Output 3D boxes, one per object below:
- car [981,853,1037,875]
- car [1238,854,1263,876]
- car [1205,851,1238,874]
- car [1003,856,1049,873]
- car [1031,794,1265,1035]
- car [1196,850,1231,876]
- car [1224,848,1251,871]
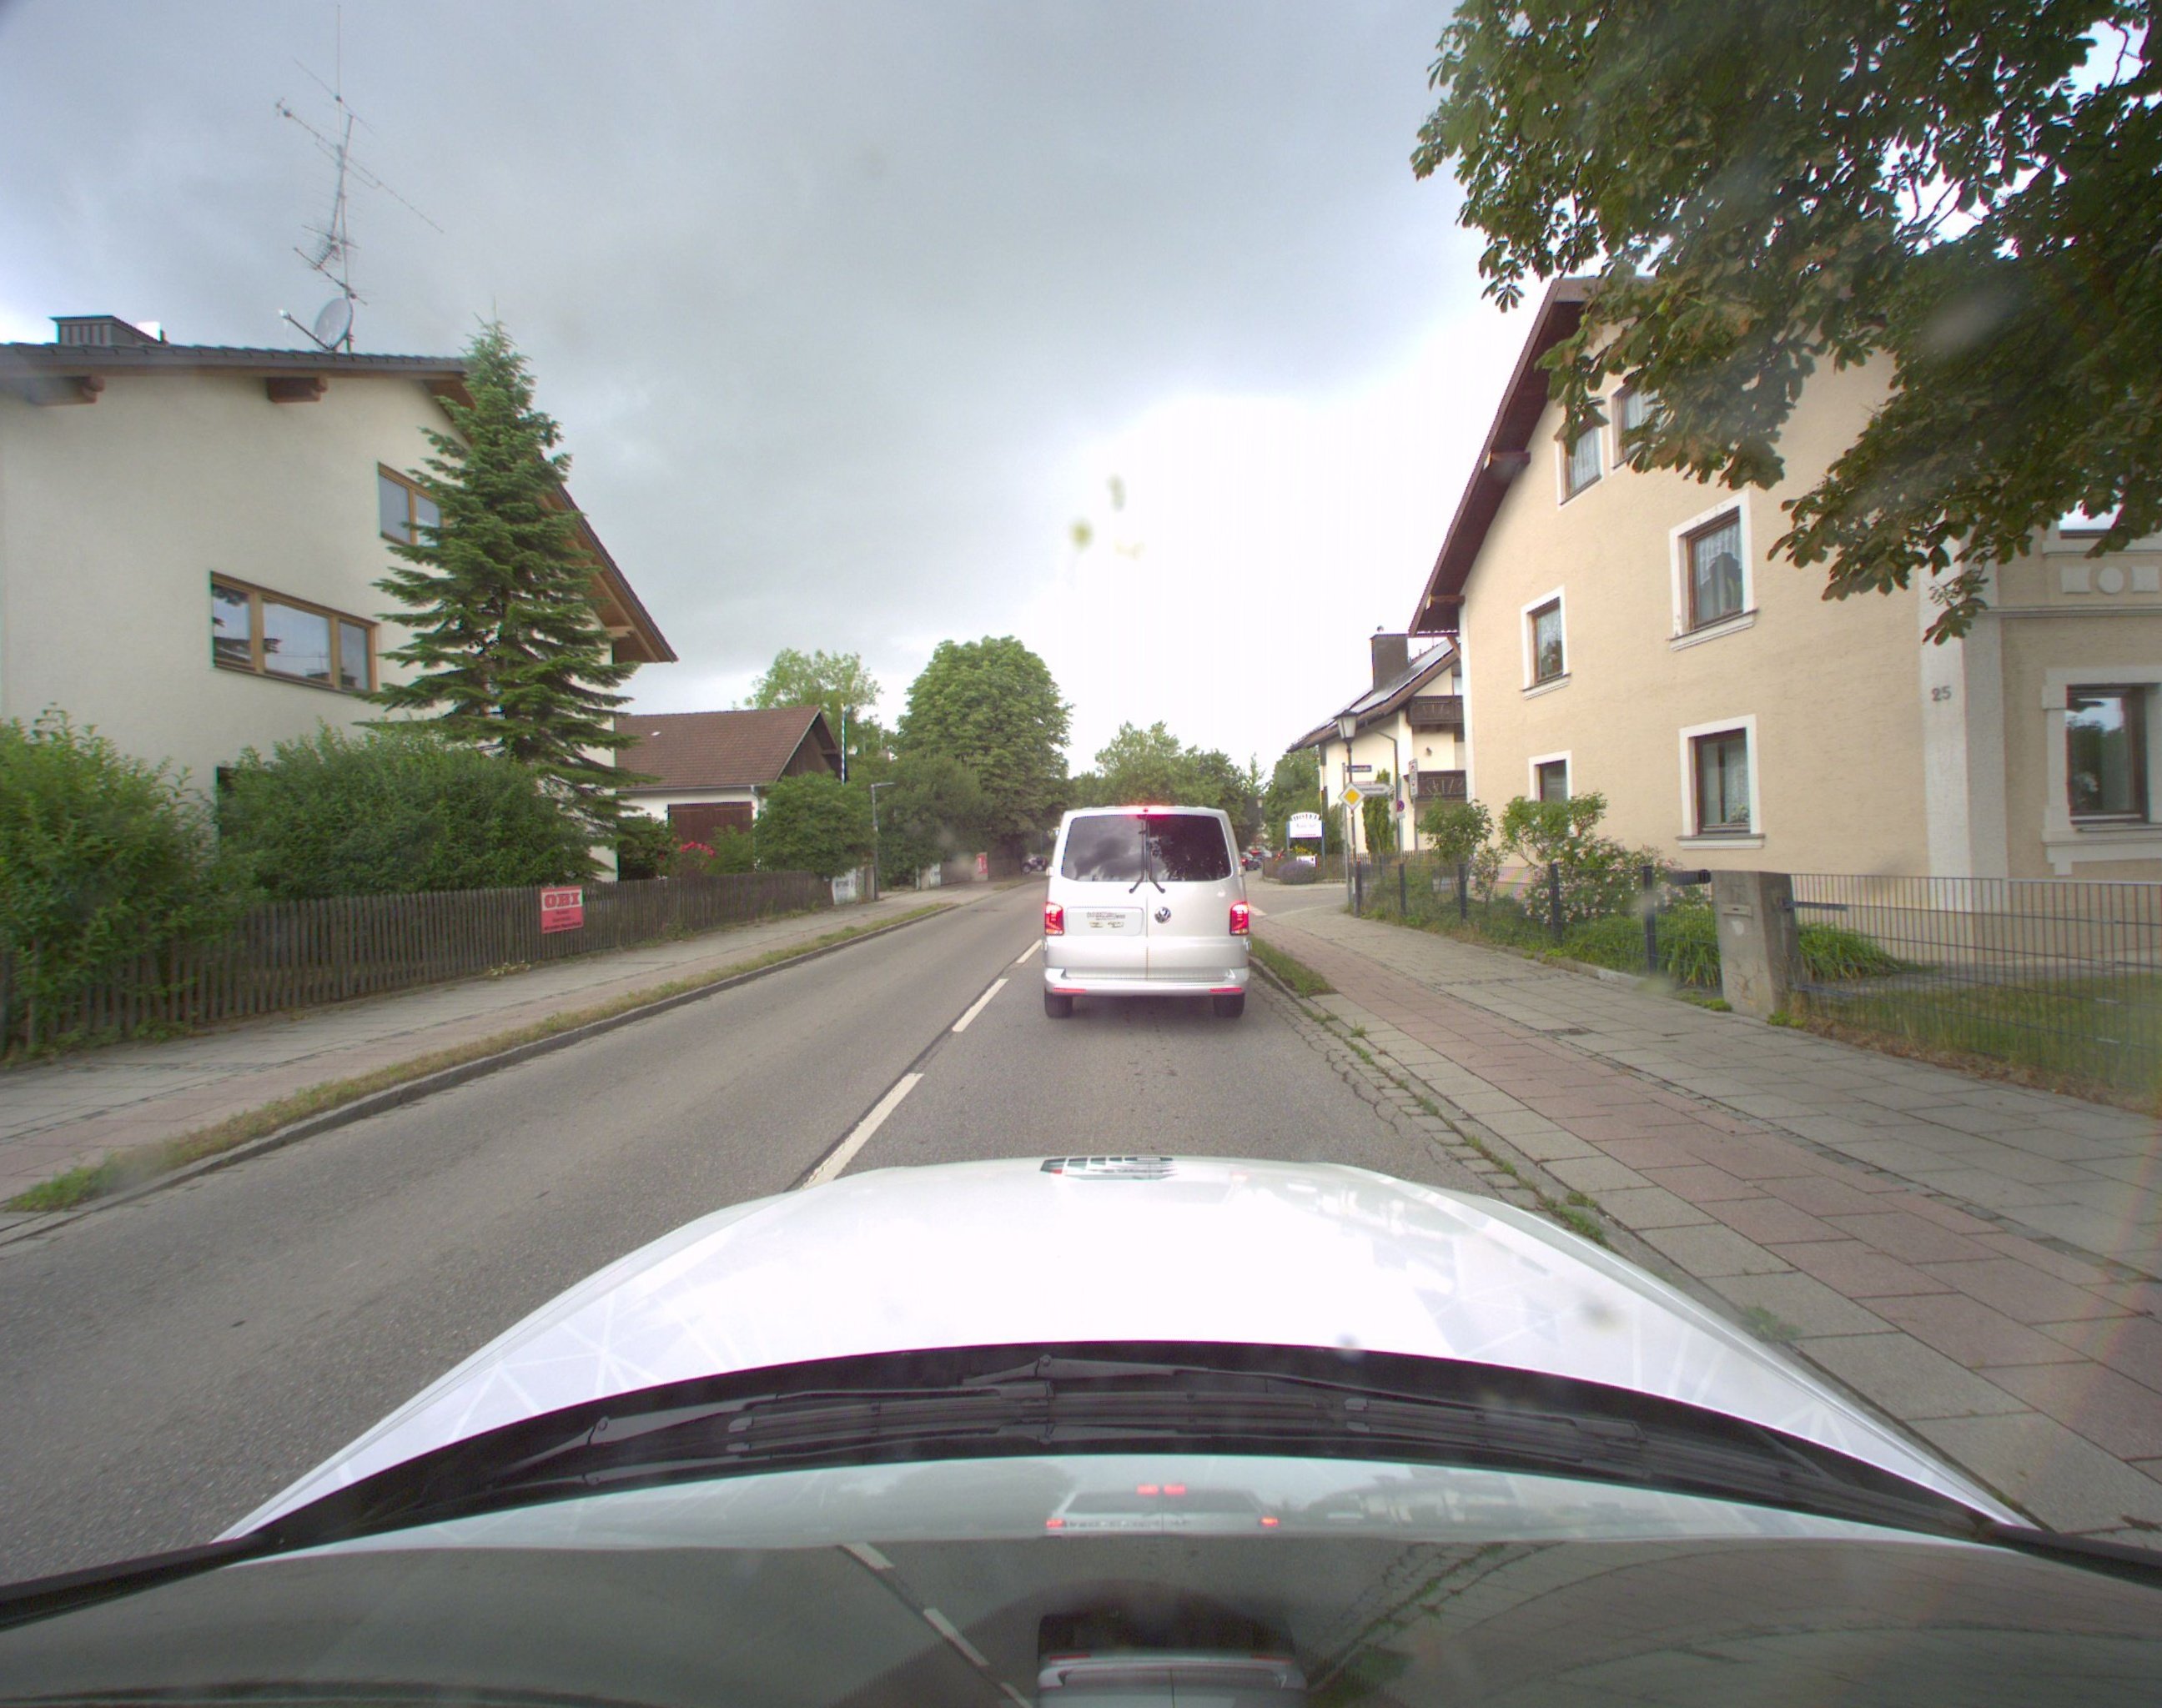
[{"bbox_3d":[-5.237,0.688,59.225,3.982,1.486,1.996,-1,0,-7],"label":"car"},{"bbox_3d":[15.126,0.960,72.416,1.867,1.825,3.937,-2,0,16],"label":"car"},{"bbox_3d":[9.877,0.559,57.126,1.867,1.535,3.937,-2,0,16],"label":"car"},{"bbox_3d":[-4.693,0.878,69.385,3.748,1.346,1.579,-2,0,-9],"label":"car"},{"bbox_3d":[0.639,0.503,8.683,1.874,1.940,3.923,-2,0,3],"label":"car"},{"bbox_3d":[8.557,0.541,52.274,1.868,1.535,3.935,-2,0,14],"label":"car"},{"bbox_3d":[12.654,0.421,65.670,1.867,1.748,4.096,-2,0,14],"label":"car"}]
